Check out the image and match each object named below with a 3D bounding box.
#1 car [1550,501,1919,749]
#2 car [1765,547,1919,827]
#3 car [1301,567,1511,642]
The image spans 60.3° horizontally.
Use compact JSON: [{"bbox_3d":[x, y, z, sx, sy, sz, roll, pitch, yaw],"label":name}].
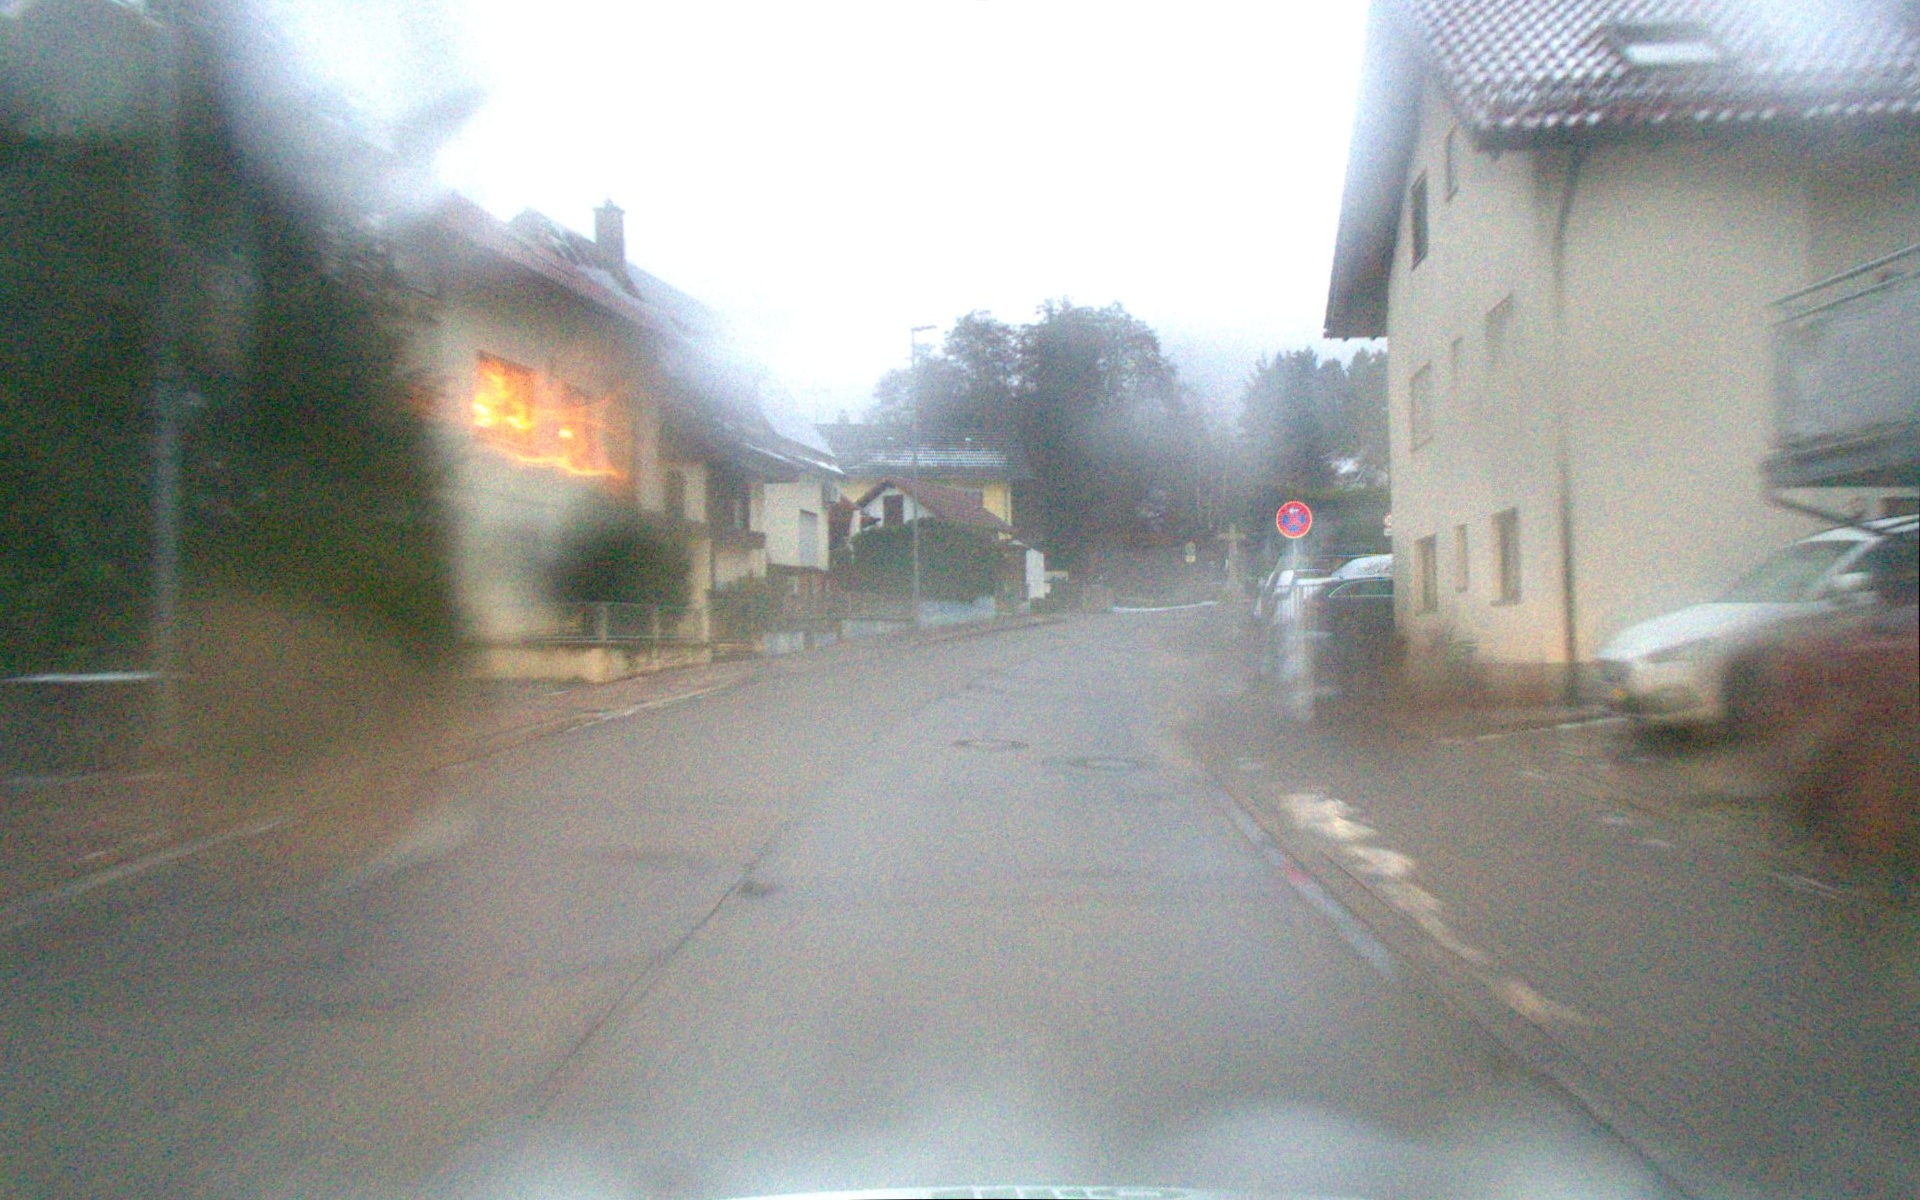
[{"bbox_3d":[7.289,0.057,13.469,4.196,1.481,1.779,-9,0,1],"label":"car"},{"bbox_3d":[6.992,0.421,9.494,3.909,1.483,1.688,-2,-2,-4],"label":"car"},{"bbox_3d":[10.057,0.082,37.641,4.408,1.469,2.002,-3,1,10],"label":"car"}]
